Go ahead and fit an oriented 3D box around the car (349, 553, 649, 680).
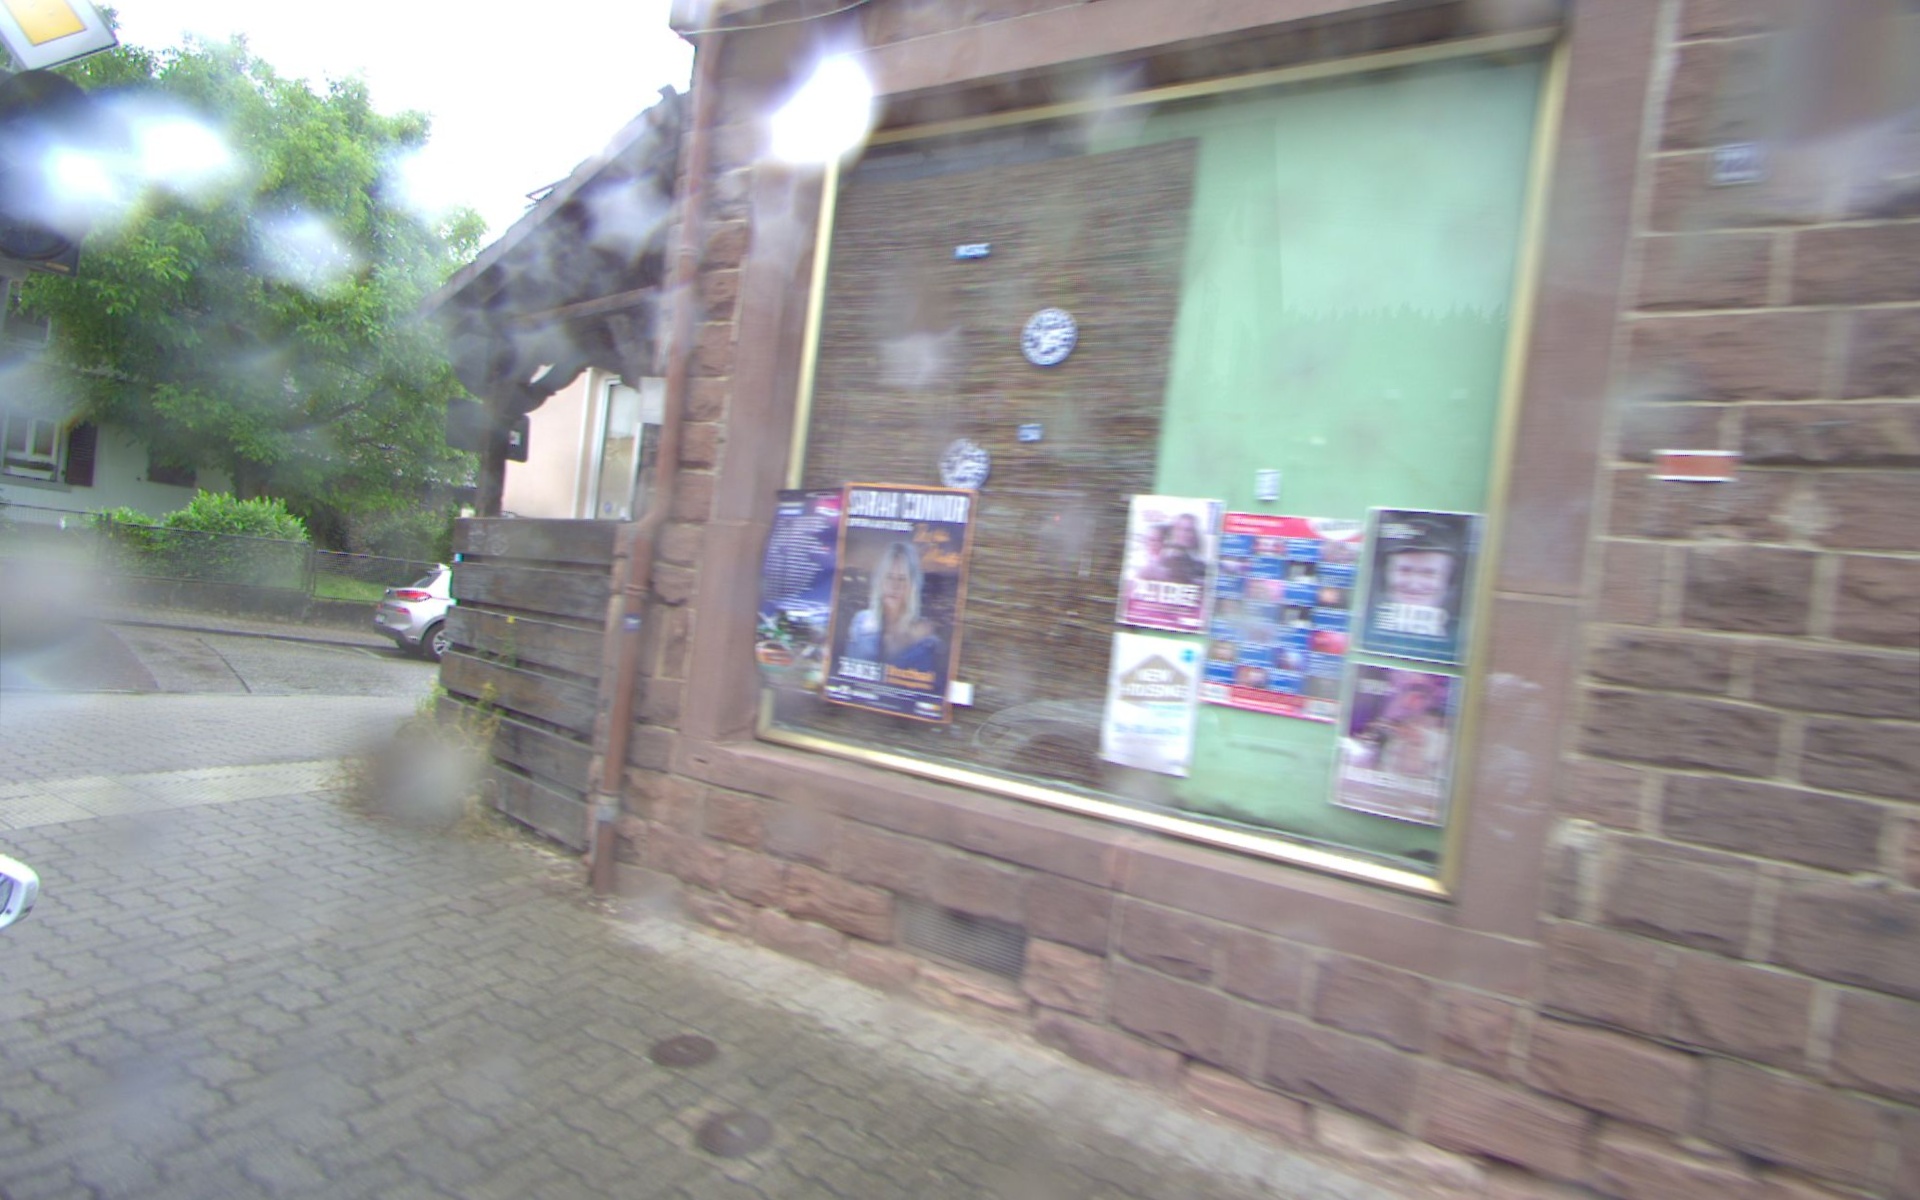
[{"bbox_3d":[-7.421,0.322,16.447,3.979,1.483,1.762,11,-4,-44],"label":"car"}]
